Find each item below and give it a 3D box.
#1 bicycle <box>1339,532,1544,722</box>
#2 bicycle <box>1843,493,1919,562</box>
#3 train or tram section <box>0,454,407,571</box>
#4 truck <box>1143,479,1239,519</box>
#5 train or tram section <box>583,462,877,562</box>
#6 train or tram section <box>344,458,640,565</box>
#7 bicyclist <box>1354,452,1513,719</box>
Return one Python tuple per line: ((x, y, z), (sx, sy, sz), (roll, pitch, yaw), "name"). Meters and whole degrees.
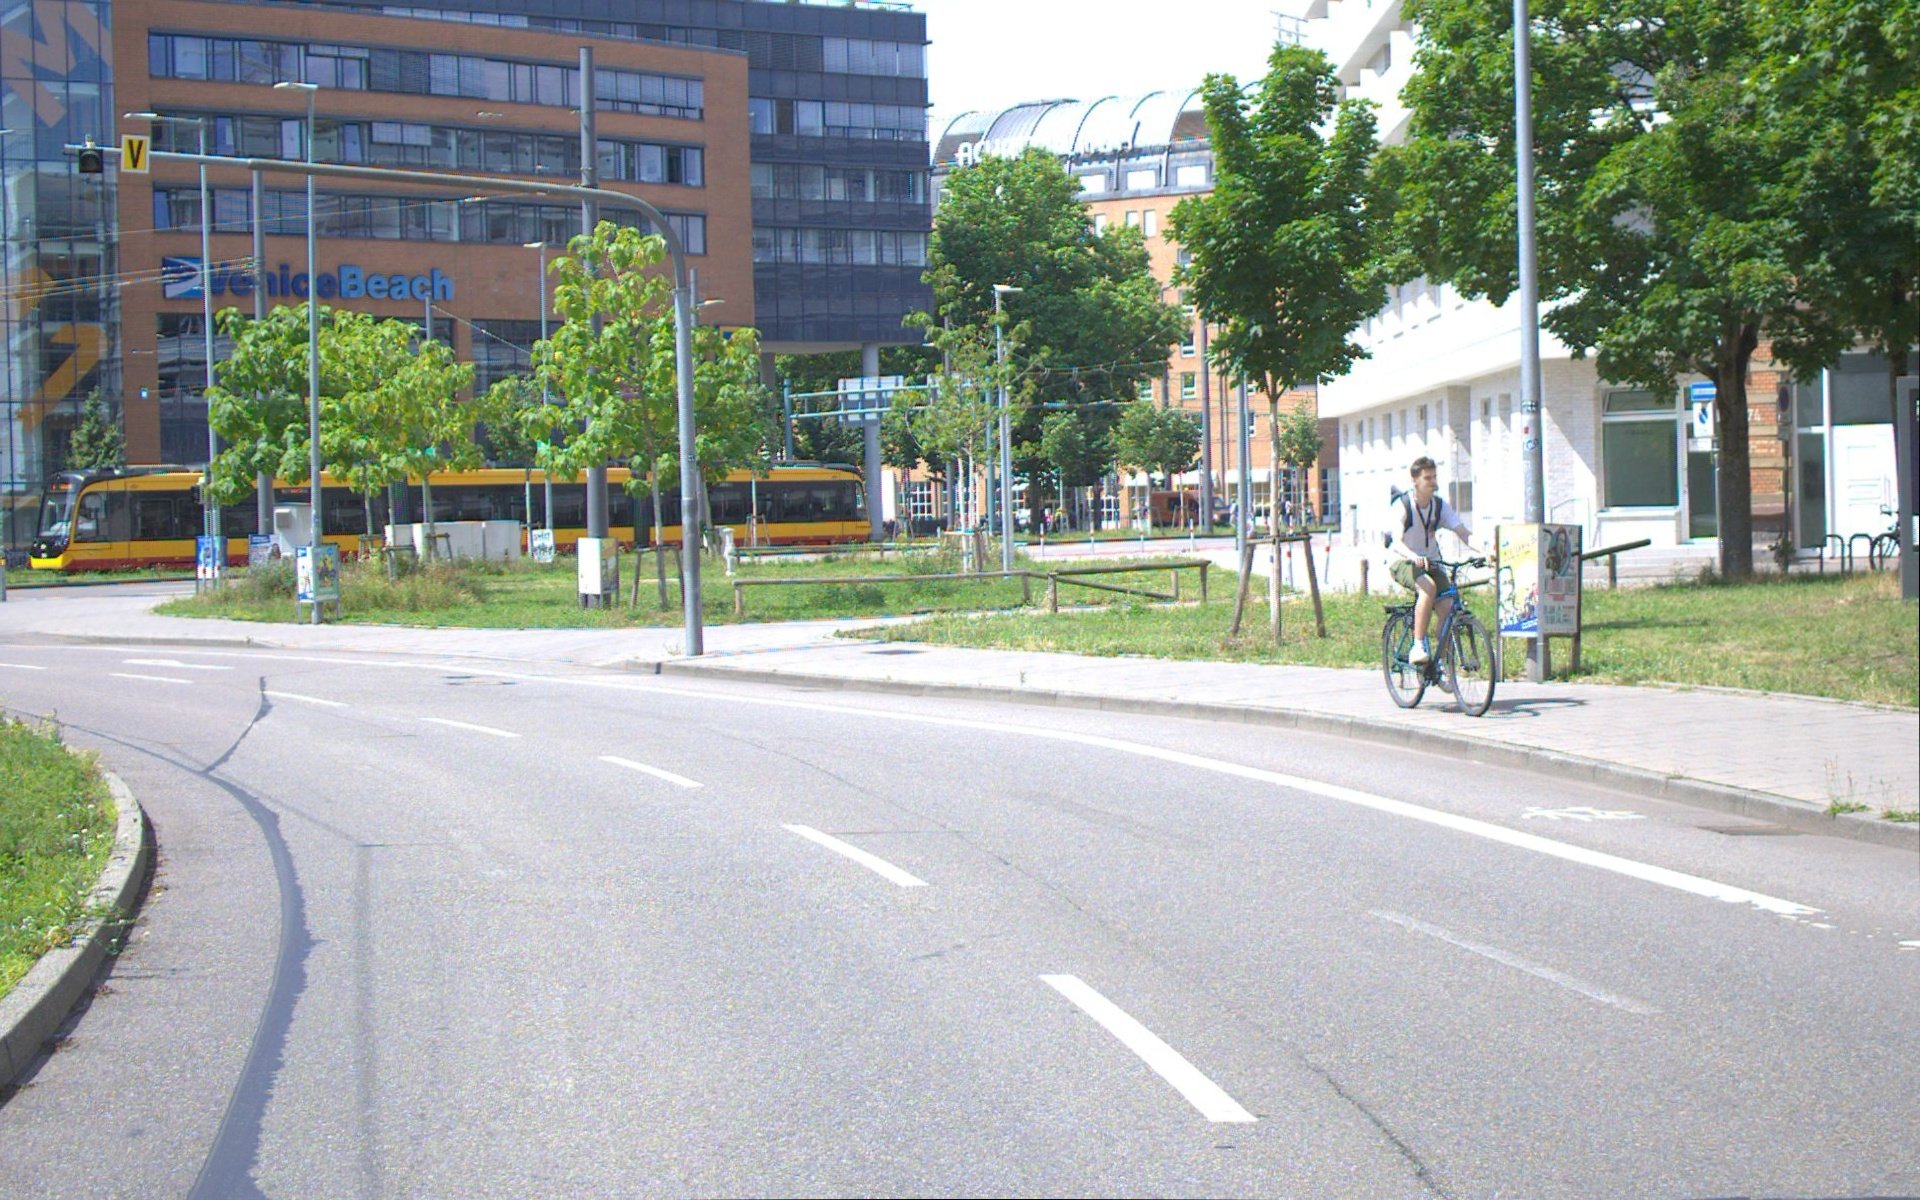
((3.407, 0.166, 24.497), (0.693, 1.238, 1.840), (-5, 3, -15), "bicycle")
((13.751, -1.048, 49.037), (2.383, 0.966, 0.544), (-1, 1, -23), "bicycle")
((-24.391, -2.850, 111.738), (3.224, 3.587, 13.466), (1, 2, 43), "train or tram section")
((12.560, -5.484, 187.170), (1.994, 2.078, 5.522), (-1, 2, -38), "truck")
((-8.509, -3.341, 129.738), (3.062, 3.608, 12.606), (0, 2, 41), "train or tram section")
((-16.313, -3.108, 120.815), (3.062, 3.591, 10.966), (0, 2, 42), "train or tram section")
((3.369, -0.118, 24.531), (0.694, 1.818, 0.956), (-5, 3, -15), "bicyclist")
